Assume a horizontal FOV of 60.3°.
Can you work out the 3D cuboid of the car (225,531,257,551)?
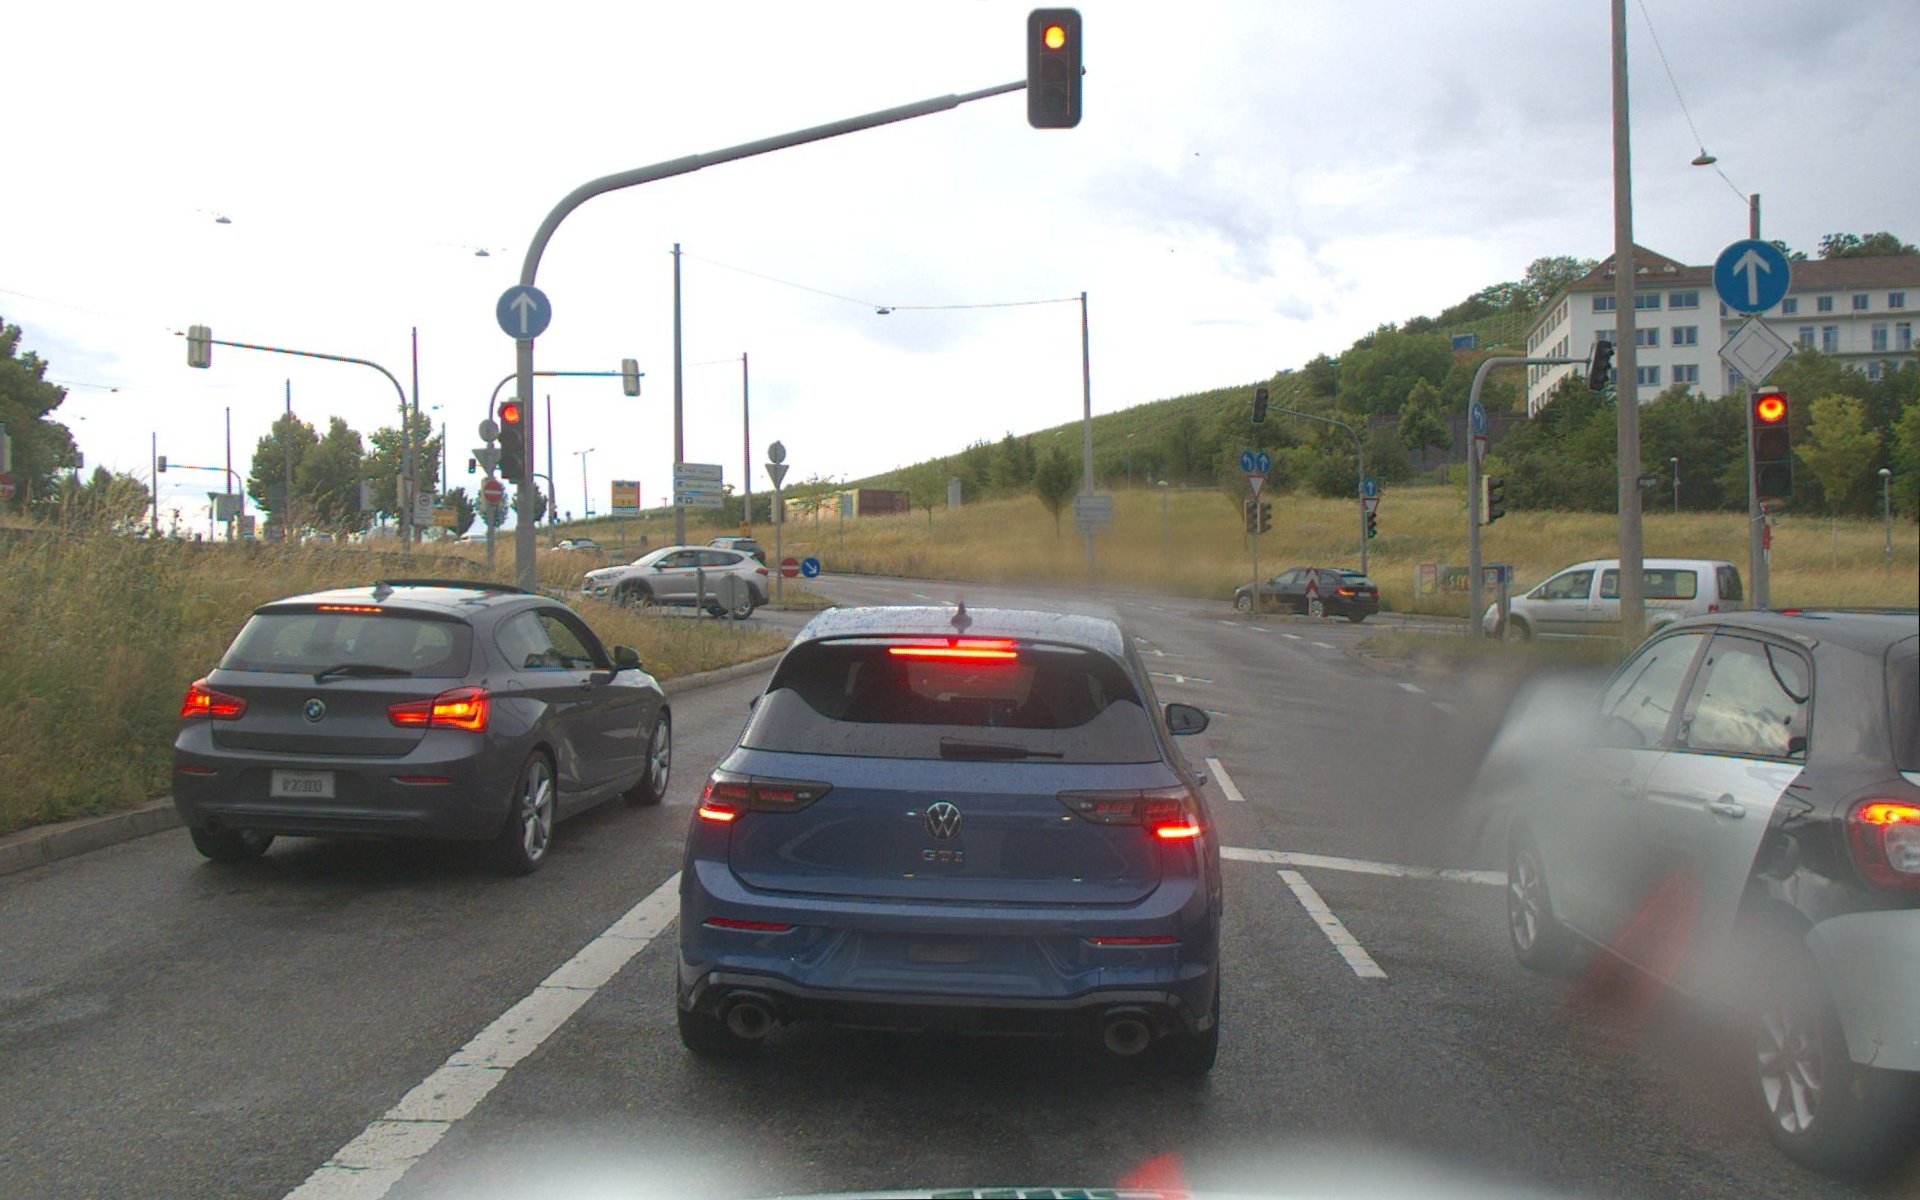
[{"bbox_3d":[-70.478,-5.778,162.154,1.978,1.688,4.298,1,-1,-36],"label":"car"}]

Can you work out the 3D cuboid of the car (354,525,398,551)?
[{"bbox_3d":[-46.205,-4.880,130.726,2.111,1.826,4.683,1,-1,-35],"label":"car"}]

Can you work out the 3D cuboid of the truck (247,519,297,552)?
[{"bbox_3d":[-71.401,-6.757,171.636,3.234,3.128,6.096,4,0,-37],"label":"truck"}]

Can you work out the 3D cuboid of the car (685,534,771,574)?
[{"bbox_3d":[-10.496,-2.052,74.612,1.979,1.665,4.362,1,-1,-37],"label":"car"}]

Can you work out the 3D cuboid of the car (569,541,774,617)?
[{"bbox_3d":[-6.833,-0.466,39.233,4.452,1.649,1.984,1,-1,-25],"label":"car"}]

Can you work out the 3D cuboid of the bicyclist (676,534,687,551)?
[{"bbox_3d":[-18.872,-3.903,112.062,0.518,1.065,0.574,4,0,-34],"label":"bicyclist"}]

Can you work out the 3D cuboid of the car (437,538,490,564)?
[{"bbox_3d":[-32.254,-3.148,107.440,1.977,1.503,4.365,1,-1,-35],"label":"car"}]

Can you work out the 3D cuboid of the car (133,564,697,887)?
[{"bbox_3d":[-2.868,0.559,9.732,1.667,1.485,4.117,0,0,5],"label":"car"}]

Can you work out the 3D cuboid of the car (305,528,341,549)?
[{"bbox_3d":[-57.889,-5.563,150.229,1.978,1.688,4.487,1,-1,-36],"label":"car"}]

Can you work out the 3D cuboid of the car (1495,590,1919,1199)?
[{"bbox_3d":[3.151,0.772,5.734,1.623,1.529,3.452,1,-1,3],"label":"car"}]

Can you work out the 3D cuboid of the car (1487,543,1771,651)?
[{"bbox_3d":[12.464,-0.044,31.023,4.617,1.882,1.810,0,-1,44],"label":"car"}]

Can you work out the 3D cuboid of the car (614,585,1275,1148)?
[{"bbox_3d":[0.096,0.707,6.388,1.786,1.486,3.810,1,0,4],"label":"car"}]

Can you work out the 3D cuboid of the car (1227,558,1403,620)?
[{"bbox_3d":[10.028,-0.335,47.060,1.978,1.646,4.790,1,1,-36],"label":"car"}]

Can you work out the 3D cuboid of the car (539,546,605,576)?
[{"bbox_3d":[-21.362,-2.134,90.985,1.978,1.503,4.446,1,-1,-36],"label":"car"}]
